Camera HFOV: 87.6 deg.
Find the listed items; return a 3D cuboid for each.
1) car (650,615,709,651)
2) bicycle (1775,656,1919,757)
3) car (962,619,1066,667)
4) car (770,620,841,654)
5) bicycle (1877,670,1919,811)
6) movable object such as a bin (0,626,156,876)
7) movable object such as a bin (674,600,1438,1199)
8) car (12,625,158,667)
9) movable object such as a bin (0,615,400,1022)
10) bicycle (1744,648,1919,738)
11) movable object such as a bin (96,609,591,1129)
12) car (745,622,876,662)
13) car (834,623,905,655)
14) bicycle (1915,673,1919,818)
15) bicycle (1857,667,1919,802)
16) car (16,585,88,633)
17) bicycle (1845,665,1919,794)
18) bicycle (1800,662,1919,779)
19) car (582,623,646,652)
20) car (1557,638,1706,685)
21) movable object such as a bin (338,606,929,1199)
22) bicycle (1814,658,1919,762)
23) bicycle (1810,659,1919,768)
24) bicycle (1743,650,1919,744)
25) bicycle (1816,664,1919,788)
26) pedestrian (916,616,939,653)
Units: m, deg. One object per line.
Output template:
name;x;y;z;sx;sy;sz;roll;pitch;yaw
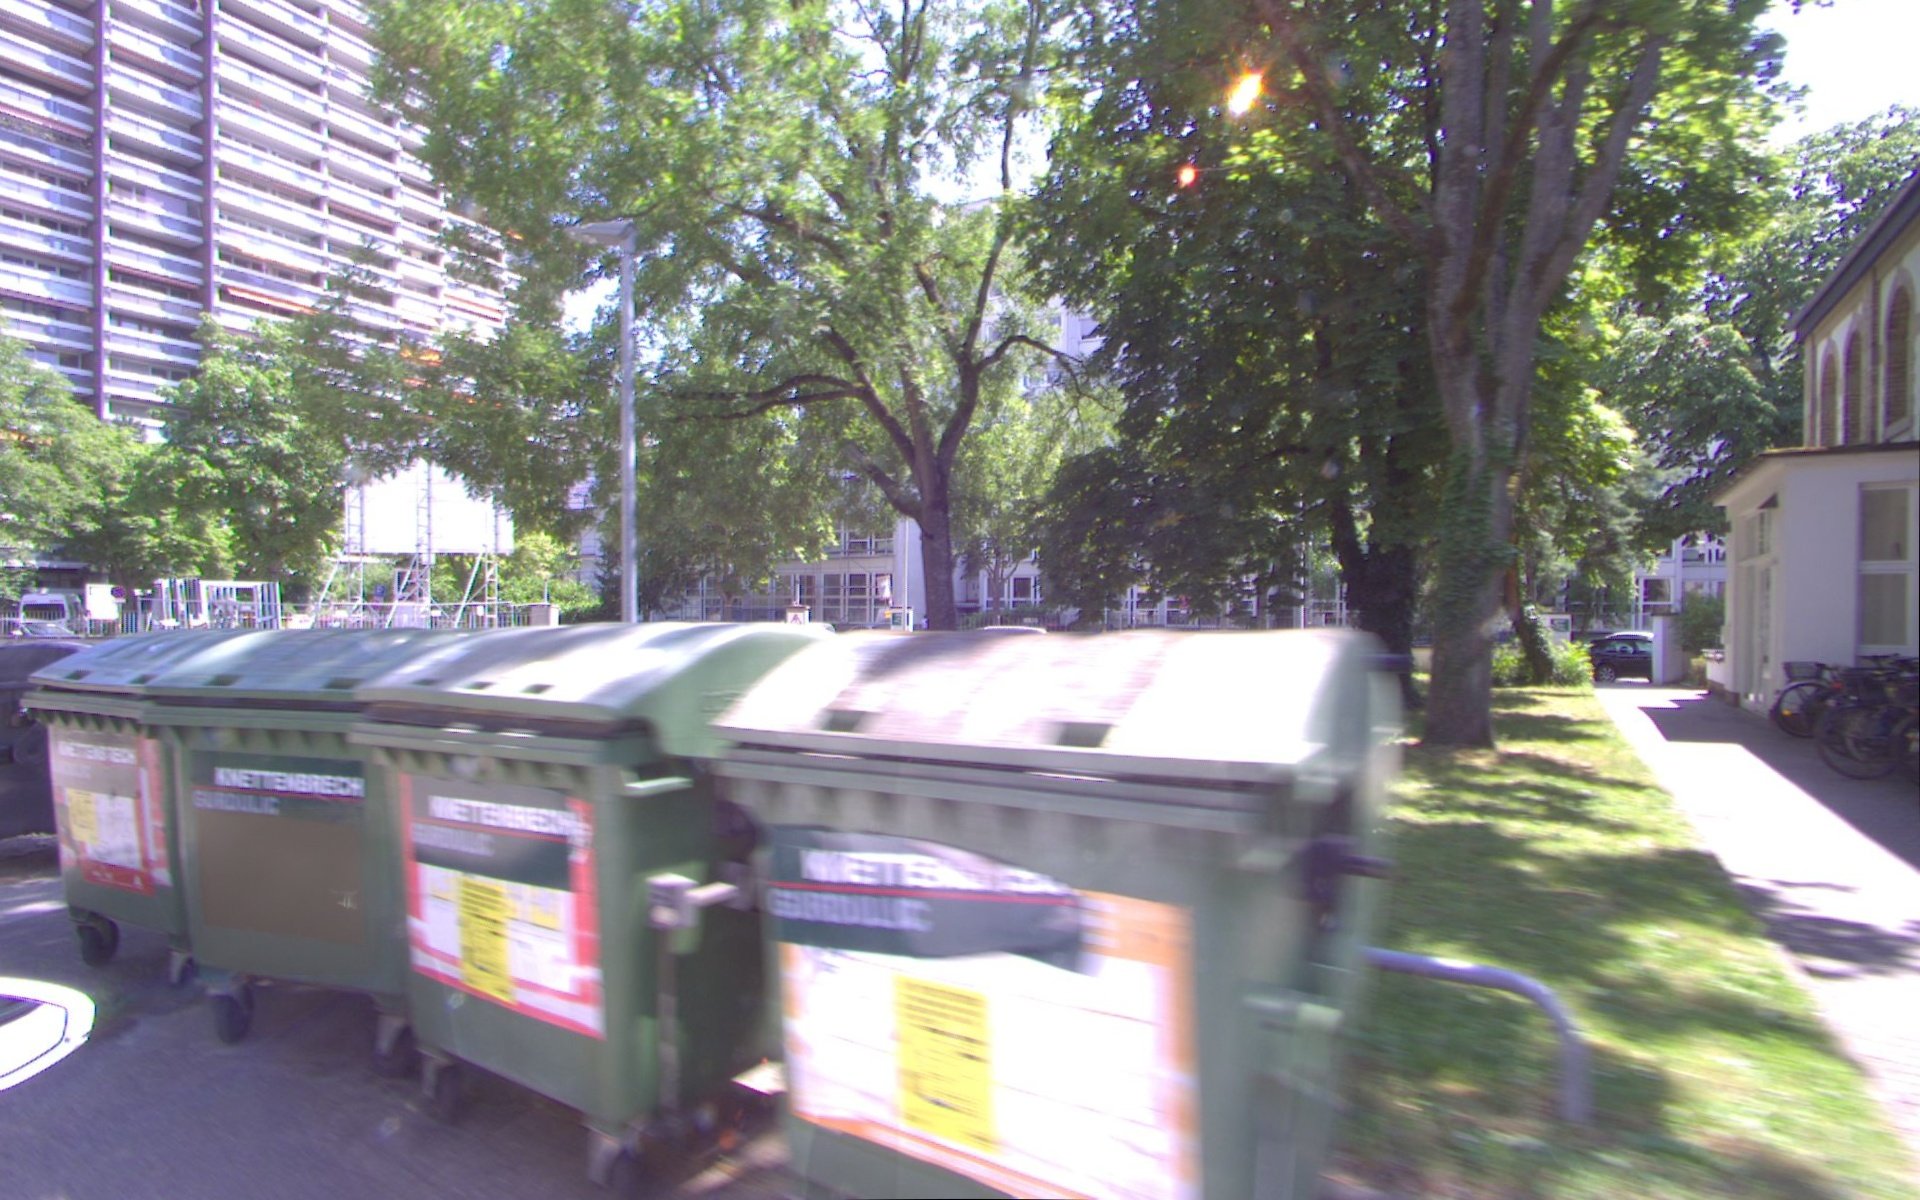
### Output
car;-13.798;1.584;49.109;1.988;1.650;3.913;0;-1;-28
bicycle;10.782;1.239;11.785;1.800;1.116;0.404;0;0;32
car;1.718;1.356;32.144;3.267;1.498;1.433;0;-1;3
car;-7.568;1.779;48.877;1.652;1.610;3.658;1;-1;-43
bicycle;8.439;1.137;7.845;1.800;1.116;0.404;0;0;32
movable object such as a bin;-6.176;0.917;6.539;1.357;1.477;1.073;0;-1;33
movable object such as a bin;0.246;0.754;2.220;1.357;1.477;1.073;0;-1;33
car;-29.543;1.516;33.957;1.583;1.337;3.726;0;-1;2
movable object such as a bin;-3.395;0.807;4.460;1.357;1.477;1.073;0;-1;33
bicycle;11.500;1.222;13.150;1.801;1.115;0.404;-4;-2;32
movable object such as a bin;-2.237;0.778;3.668;1.357;1.477;1.073;0;-1;33
car;-5.499;1.543;37.155;4.595;1.456;1.673;0;-1;3
car;-4.408;1.862;48.412;1.651;1.433;3.681;1;-1;-39
bicycle;8.189;1.125;7.243;1.800;1.116;0.404;0;0;32
bicycle;8.695;1.146;8.316;1.800;1.116;0.404;0;0;32
car;-45.542;0.461;50.325;2.165;2.287;4.833;0;-1;-37
bicycle;8.972;1.155;8.757;1.800;1.116;0.404;0;0;32
bicycle;9.599;1.203;10.005;1.800;1.116;0.404;0;0;32
car;-16.933;1.803;48.883;1.897;1.327;3.902;1;-1;-37
car;20.632;1.864;30.877;3.461;1.360;1.654;0;-1;5
movable object such as a bin;-0.950;0.767;2.992;1.357;1.477;1.073;0;-1;33
bicycle;10.705;1.226;11.135;1.800;1.116;0.404;0;0;32
bicycle;10.260;1.217;10.666;1.800;1.116;0.404;0;0;32
bicycle;11.030;1.211;12.573;1.801;1.115;0.404;-4;-2;32
bicycle;9.211;1.190;9.351;1.800;1.116;0.404;0;0;32
pedestrian;-1.809;1.942;56.448;0.866;2.040;0.989;0;0;39
